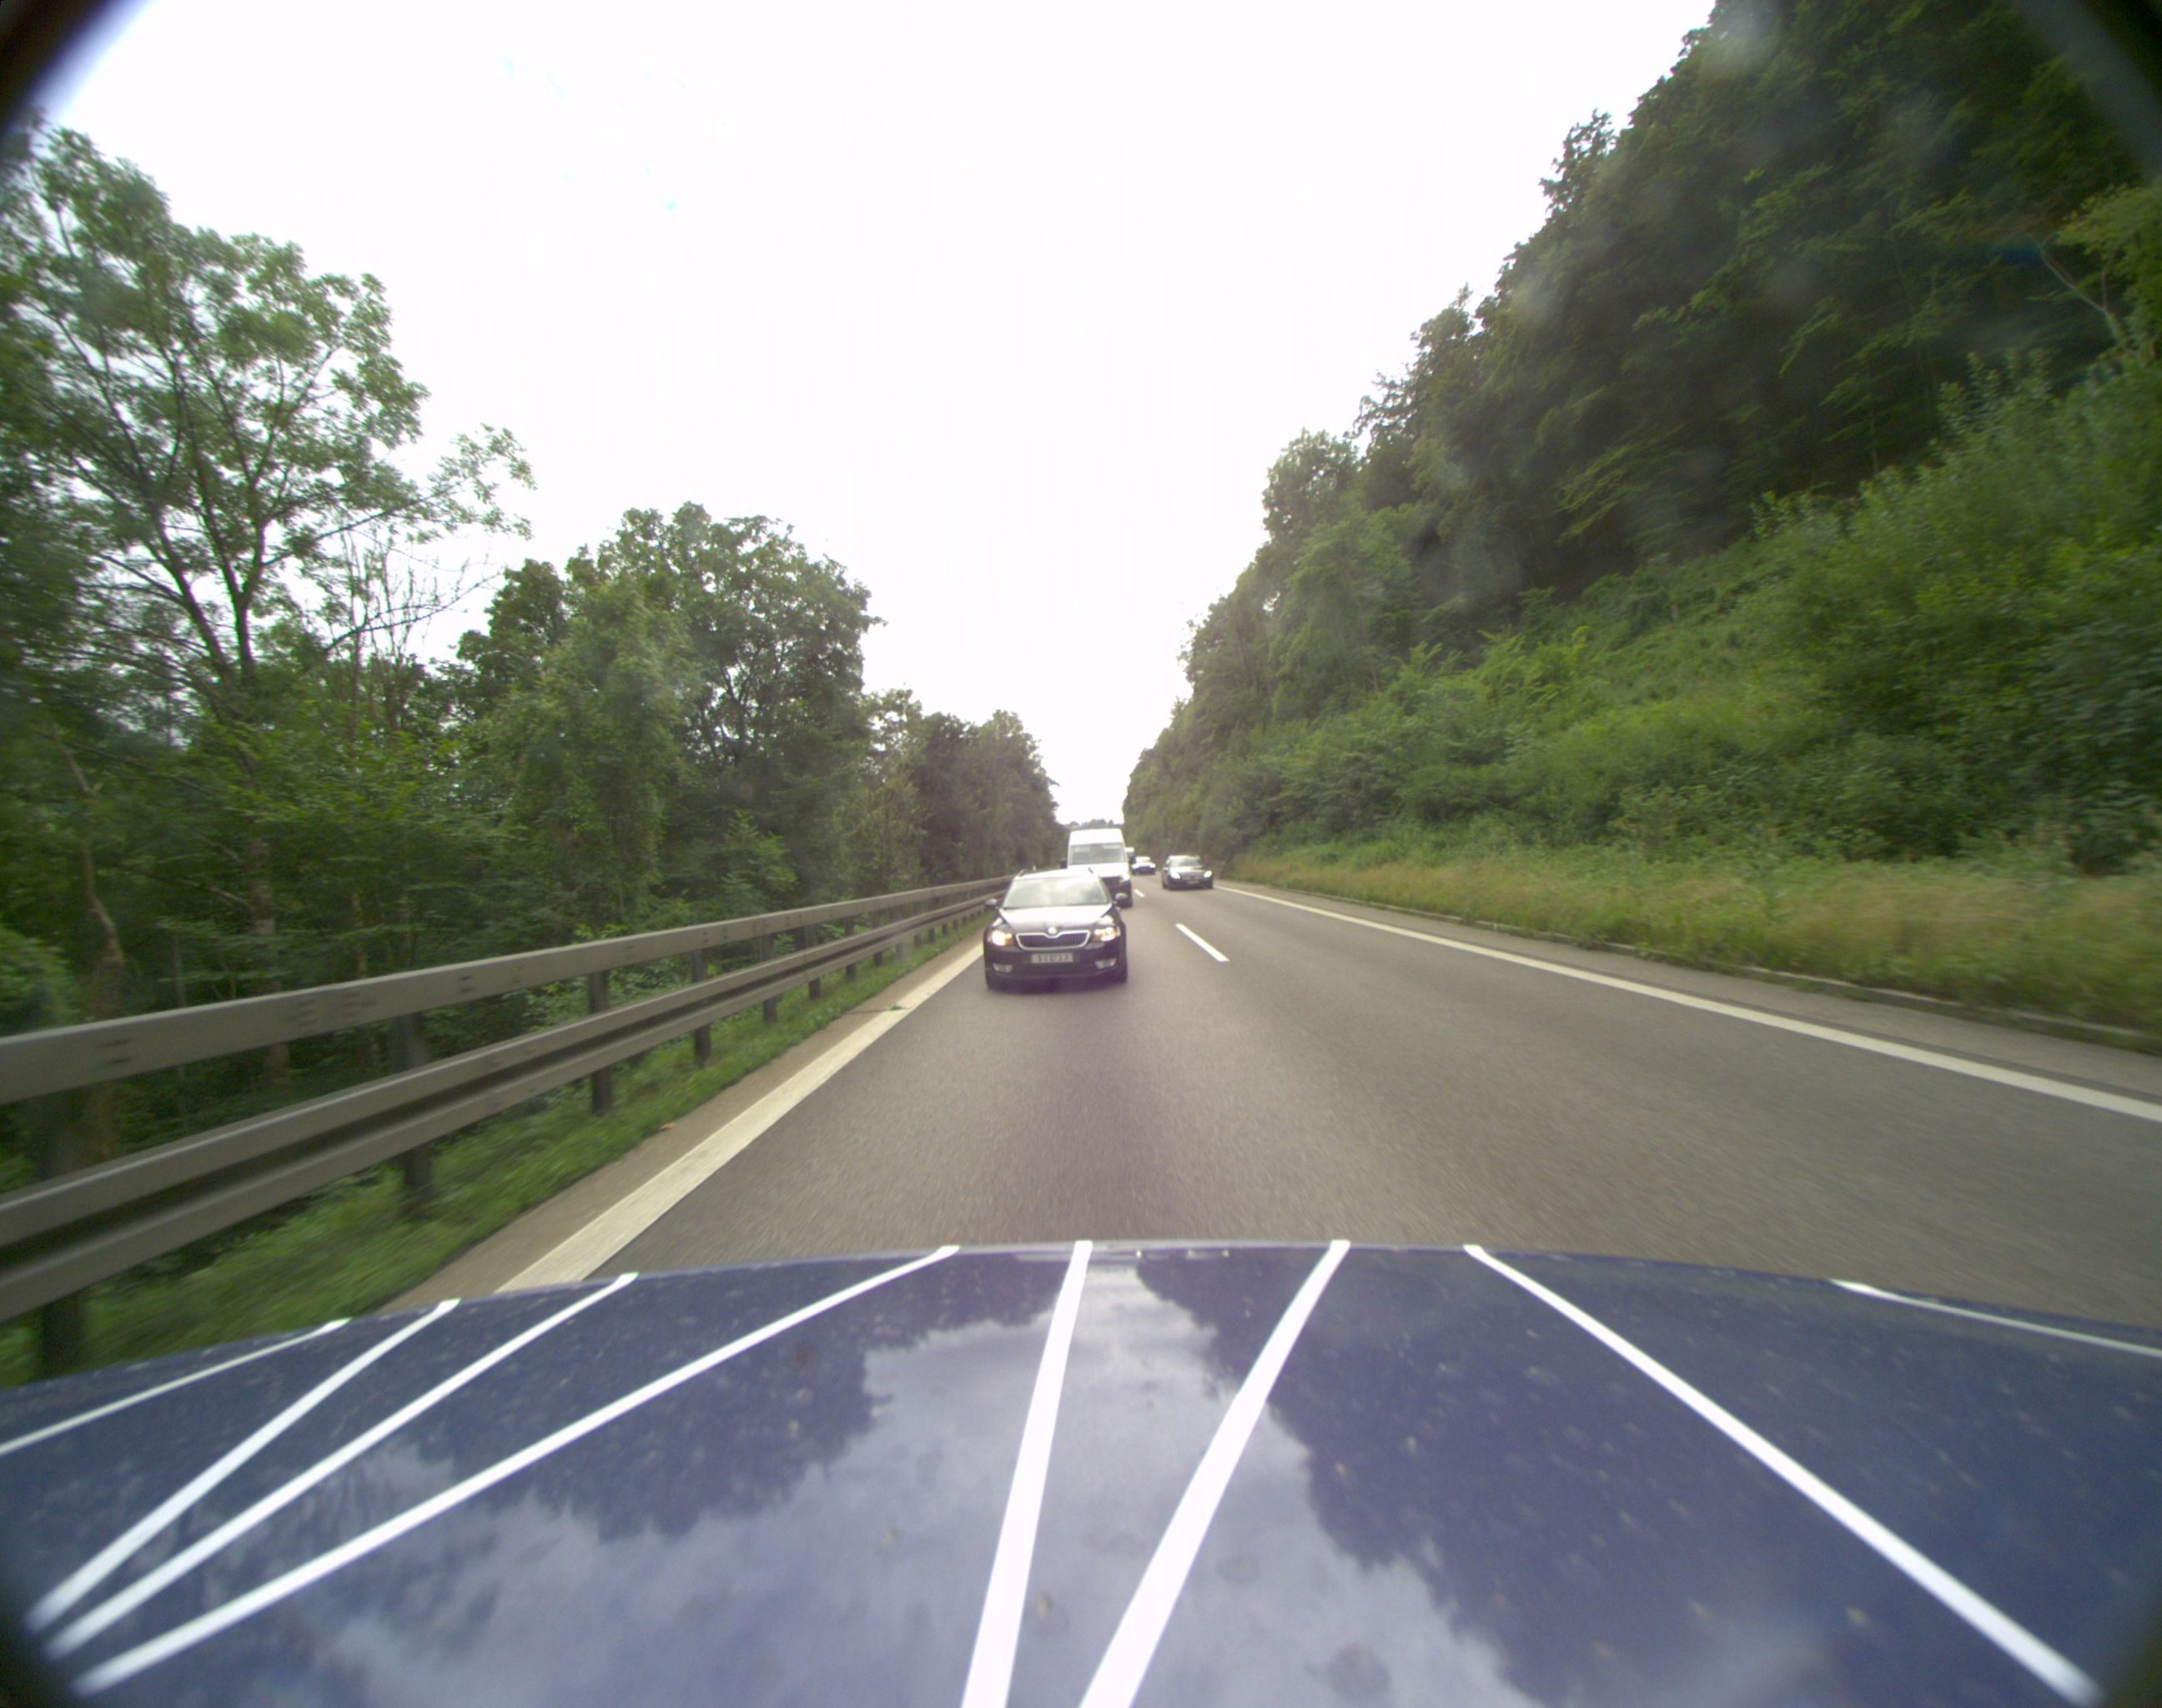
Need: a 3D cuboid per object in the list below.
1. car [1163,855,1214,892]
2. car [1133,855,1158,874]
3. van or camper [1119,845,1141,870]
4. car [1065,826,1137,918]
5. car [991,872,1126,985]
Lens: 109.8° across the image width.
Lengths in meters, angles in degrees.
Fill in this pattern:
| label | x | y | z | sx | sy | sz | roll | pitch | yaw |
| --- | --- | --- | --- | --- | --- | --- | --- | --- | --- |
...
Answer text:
| label | x | y | z | sx | sy | sz | roll | pitch | yaw |
| --- | --- | --- | --- | --- | --- | --- | --- | --- | --- |
| car | 4.633 | 0.824 | 33.320 | 1.765 | 1.455 | 5.124 | -1 | -1 | 3 |
| car | 5.242 | 0.822 | 62.030 | 1.840 | 1.460 | 4.556 | 0 | 0 | 2 |
| van or camper | 5.665 | 0.428 | 88.632 | 2.270 | 2.719 | 7.025 | 0 | 0 | 2 |
| car | 0.589 | 0.501 | 23.777 | 2.001 | 2.545 | 5.128 | 0 | 0 | 1 |
| car | -0.334 | 1.023 | 12.163 | 1.751 | 1.409 | 4.401 | 0 | -1 | -1 |
